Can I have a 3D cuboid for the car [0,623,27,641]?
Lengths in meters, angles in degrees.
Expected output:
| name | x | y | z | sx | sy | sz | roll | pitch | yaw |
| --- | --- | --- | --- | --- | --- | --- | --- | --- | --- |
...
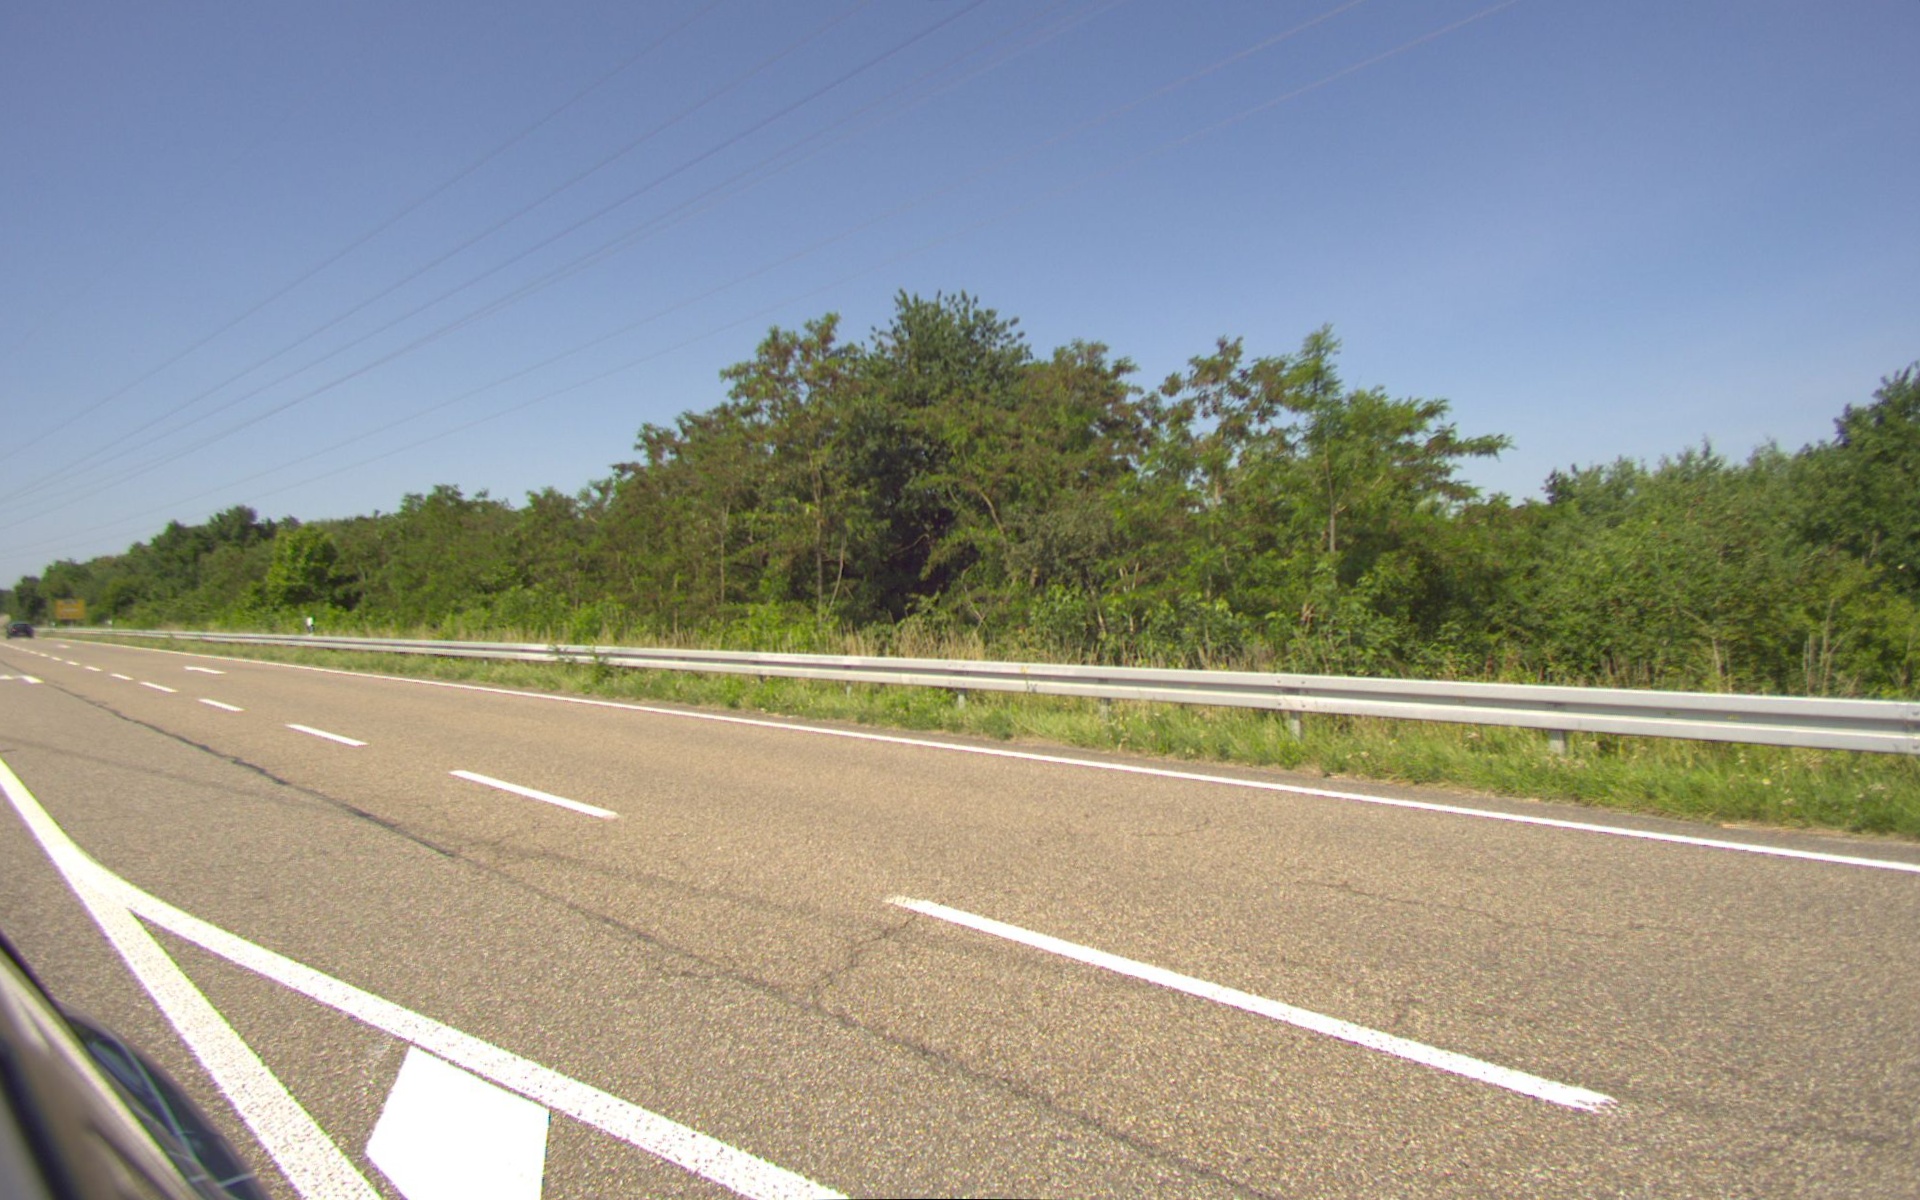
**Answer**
| name | x | y | z | sx | sy | sz | roll | pitch | yaw |
| --- | --- | --- | --- | --- | --- | --- | --- | --- | --- |
| car | -82.963 | 2.806 | 88.540 | 4.214 | 1.453 | 1.641 | -1 | 0 | 43 |
